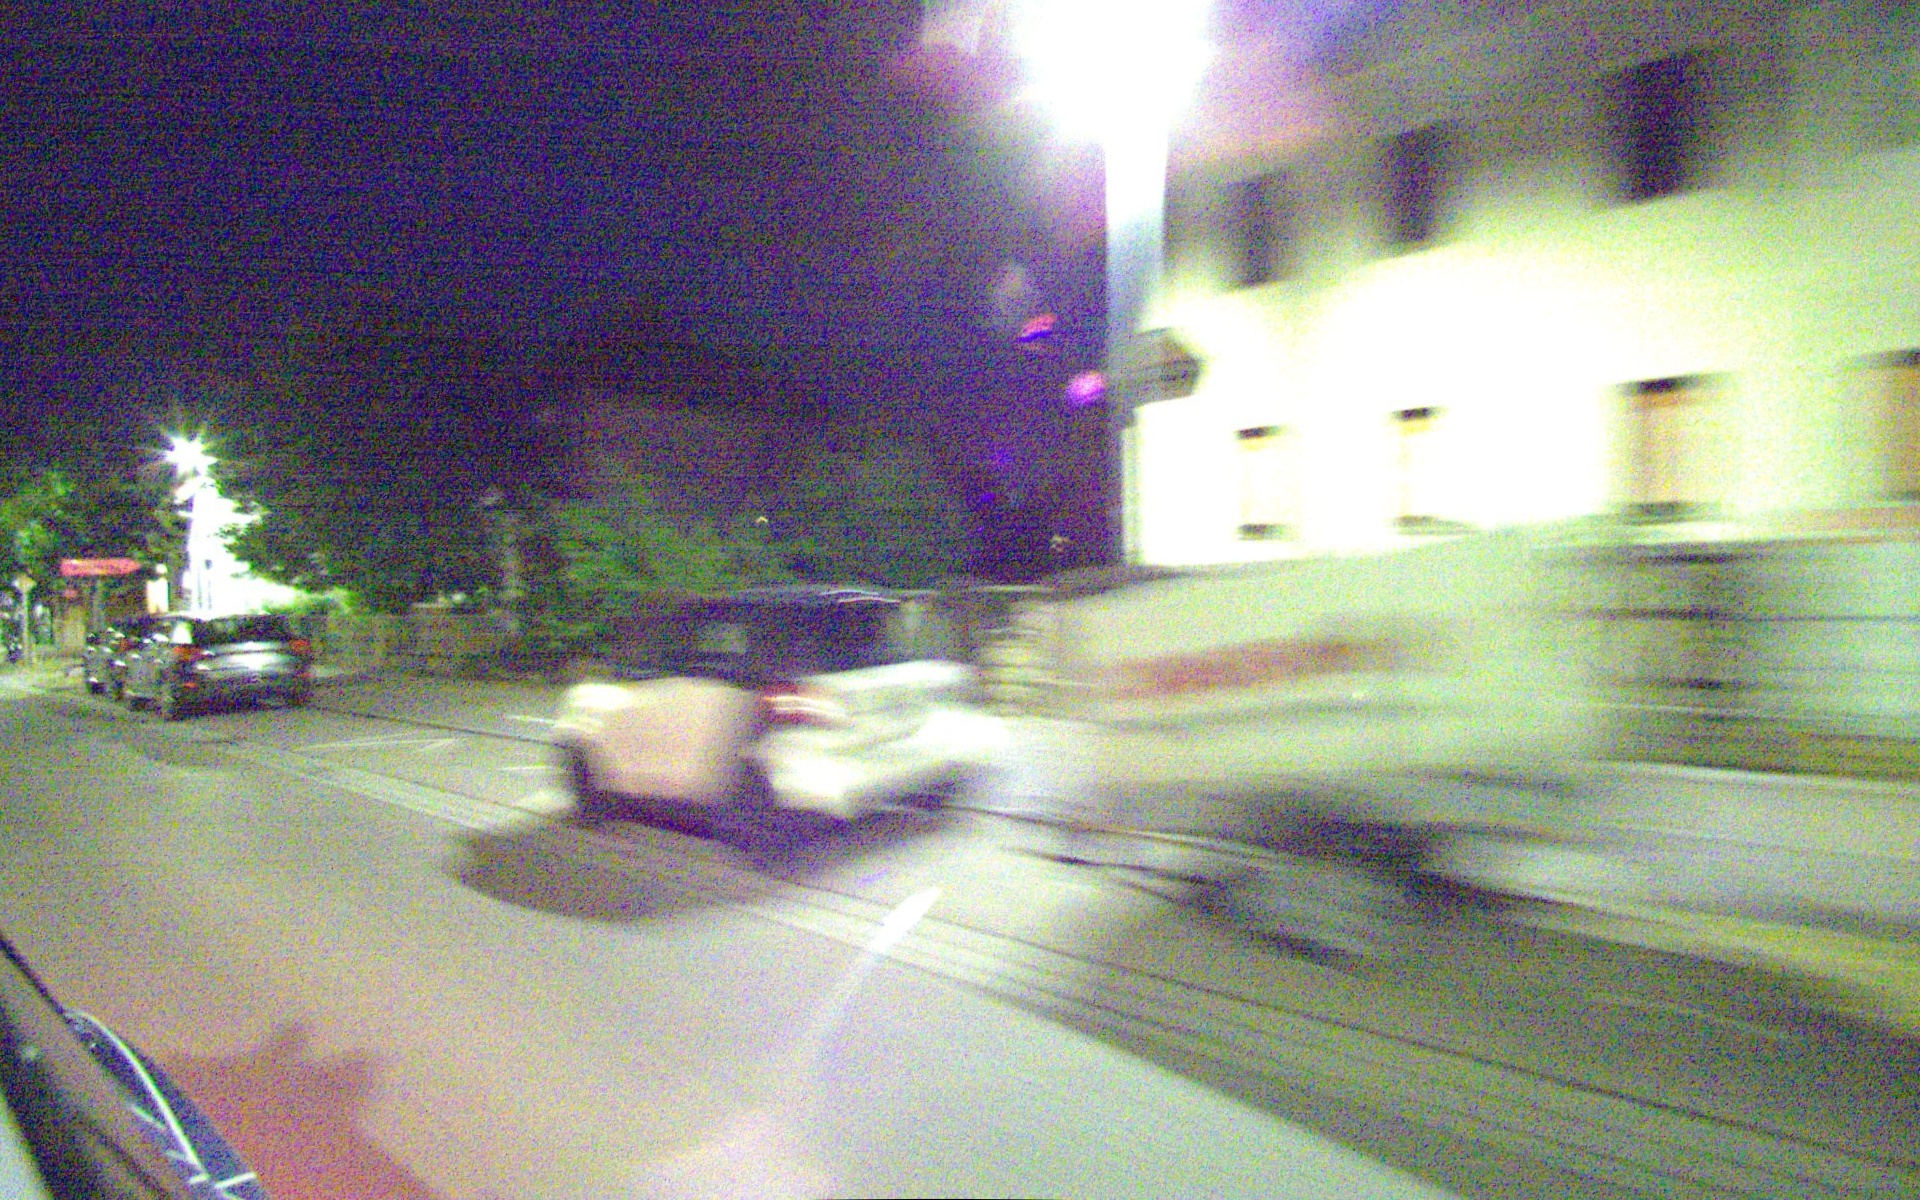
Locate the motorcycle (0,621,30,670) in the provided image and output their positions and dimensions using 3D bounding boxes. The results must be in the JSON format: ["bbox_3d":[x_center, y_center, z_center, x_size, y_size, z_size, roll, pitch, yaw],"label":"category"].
[{"bbox_3d":[-29.723,1.395,31.722,0.737,1.463,2.199,-1,0,-40],"label":"motorcycle"}]

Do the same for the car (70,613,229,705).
[{"bbox_3d":[-15.557,1.061,19.353,4.277,1.522,1.670,-1,0,42],"label":"car"}]

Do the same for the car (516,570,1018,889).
[{"bbox_3d":[-1.334,0.658,6.621,2.976,1.533,1.655,-1,2,40],"label":"car"}]

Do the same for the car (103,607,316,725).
[{"bbox_3d":[-11.750,0.940,15.741,4.276,1.530,1.748,-1,1,41],"label":"car"}]

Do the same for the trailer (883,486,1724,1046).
[{"bbox_3d":[1.354,0.493,4.766,3.426,1.700,1.432,-1,2,44],"label":"trailer"}]

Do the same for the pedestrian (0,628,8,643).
[{"bbox_3d":[-108.192,4.017,114.559,0.665,1.600,0.523,-2,0,37],"label":"pedestrian"}]
